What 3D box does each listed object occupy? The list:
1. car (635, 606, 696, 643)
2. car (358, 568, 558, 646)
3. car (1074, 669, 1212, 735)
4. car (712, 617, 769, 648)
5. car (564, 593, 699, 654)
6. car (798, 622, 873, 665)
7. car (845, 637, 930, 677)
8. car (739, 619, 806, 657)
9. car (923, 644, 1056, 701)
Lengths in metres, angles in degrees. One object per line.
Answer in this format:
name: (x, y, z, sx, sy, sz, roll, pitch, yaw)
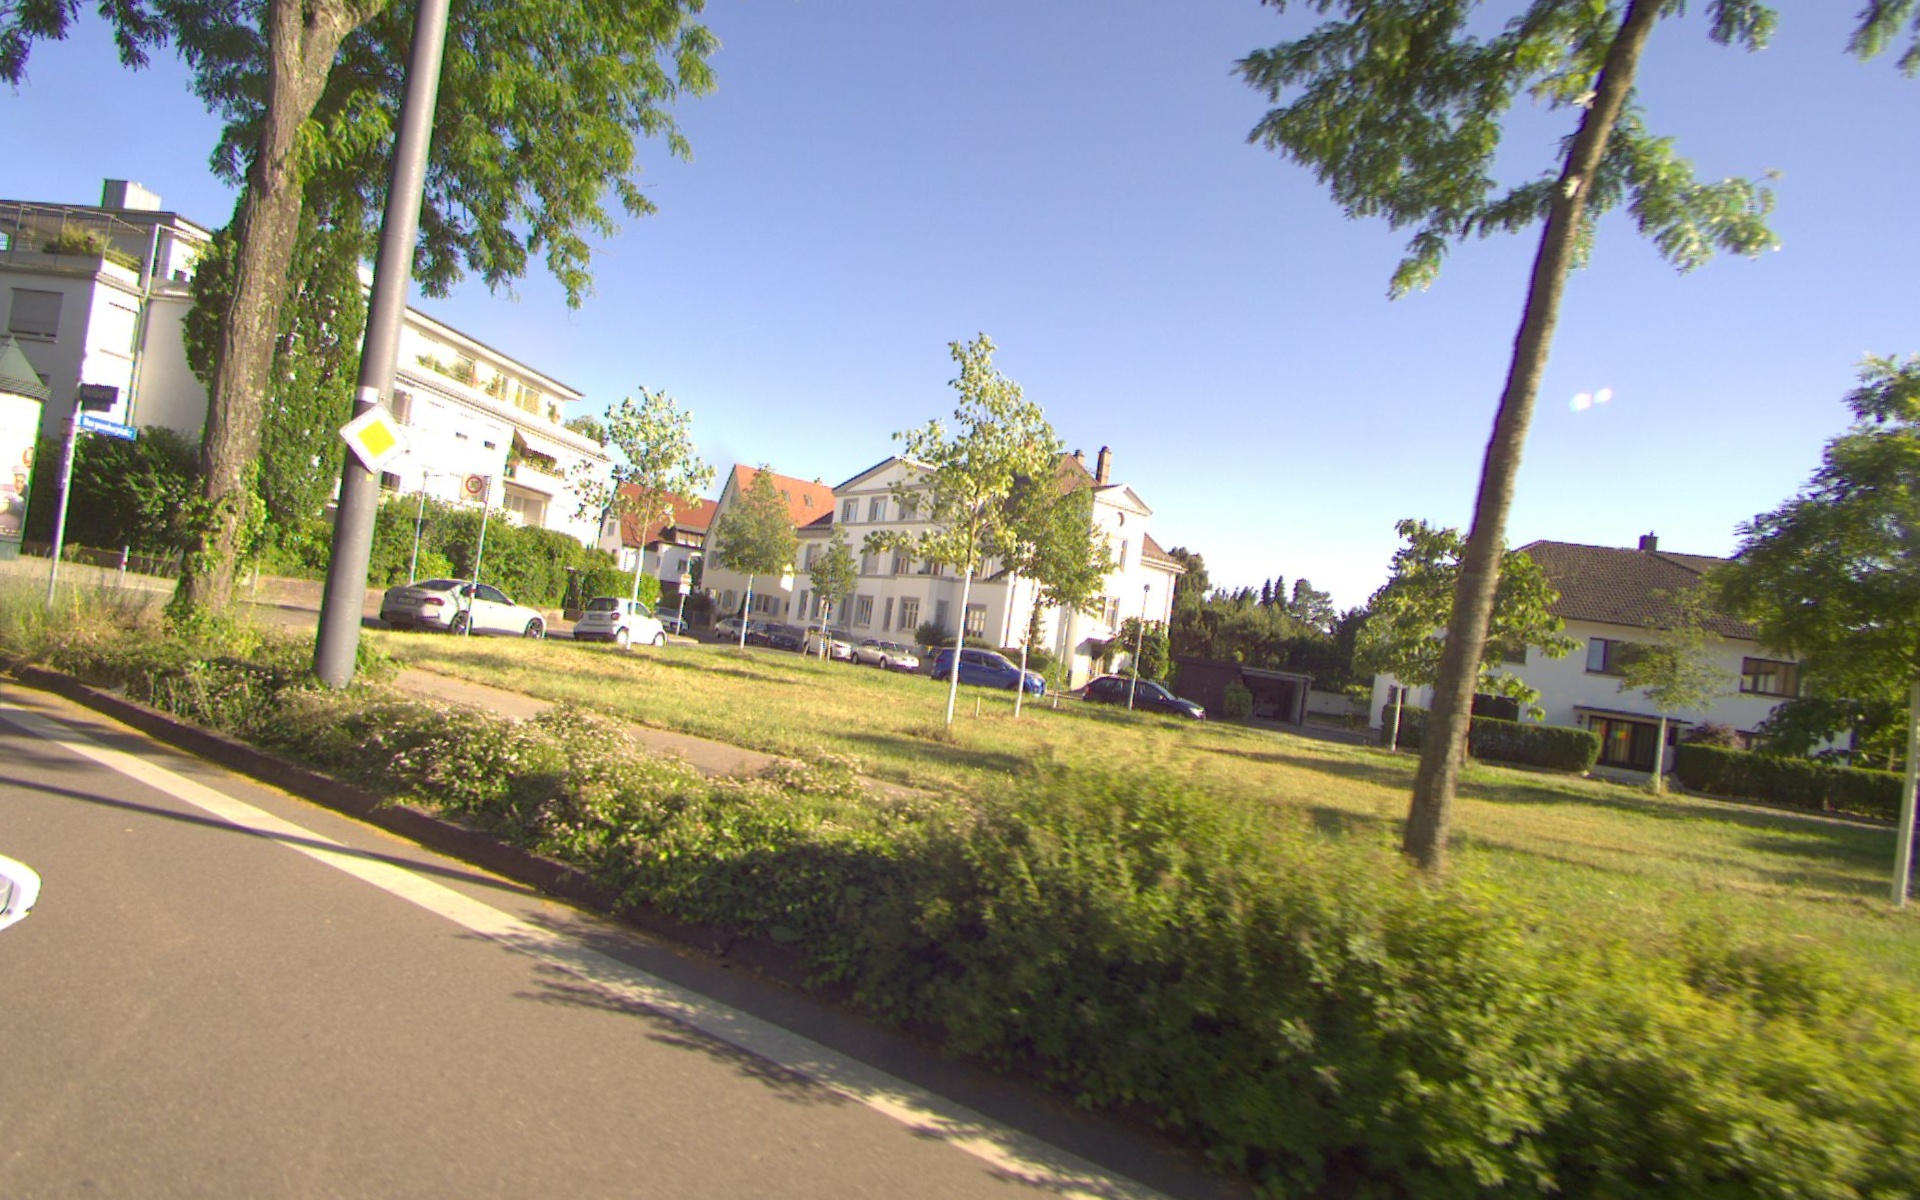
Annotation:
car: (-17.693, 1.438, 60.249, 2.035, 1.727, 4.248, 10, -3, -36)
car: (-12.429, 0.250, 25.319, 1.931, 1.384, 4.533, 7, -3, 13)
car: (6.707, 3.741, 36.962, 4.676, 1.667, 2.004, 7, -3, 11)
car: (-14.307, 2.096, 65.461, 1.984, 1.537, 3.961, 9, -3, -36)
car: (-10.487, 0.823, 32.505, 1.806, 1.527, 4.300, 4, -4, 19)
car: (-6.789, 2.333, 54.328, 1.983, 1.862, 4.518, 9, -4, -34)
car: (-3.635, 2.813, 49.831, 1.983, 1.444, 4.722, 9, -4, -34)
car: (-11.388, 2.278, 60.919, 1.985, 1.804, 4.557, 10, -3, -37)
car: (1.160, 2.756, 38.366, 4.665, 1.487, 2.068, 7, -2, 12)
